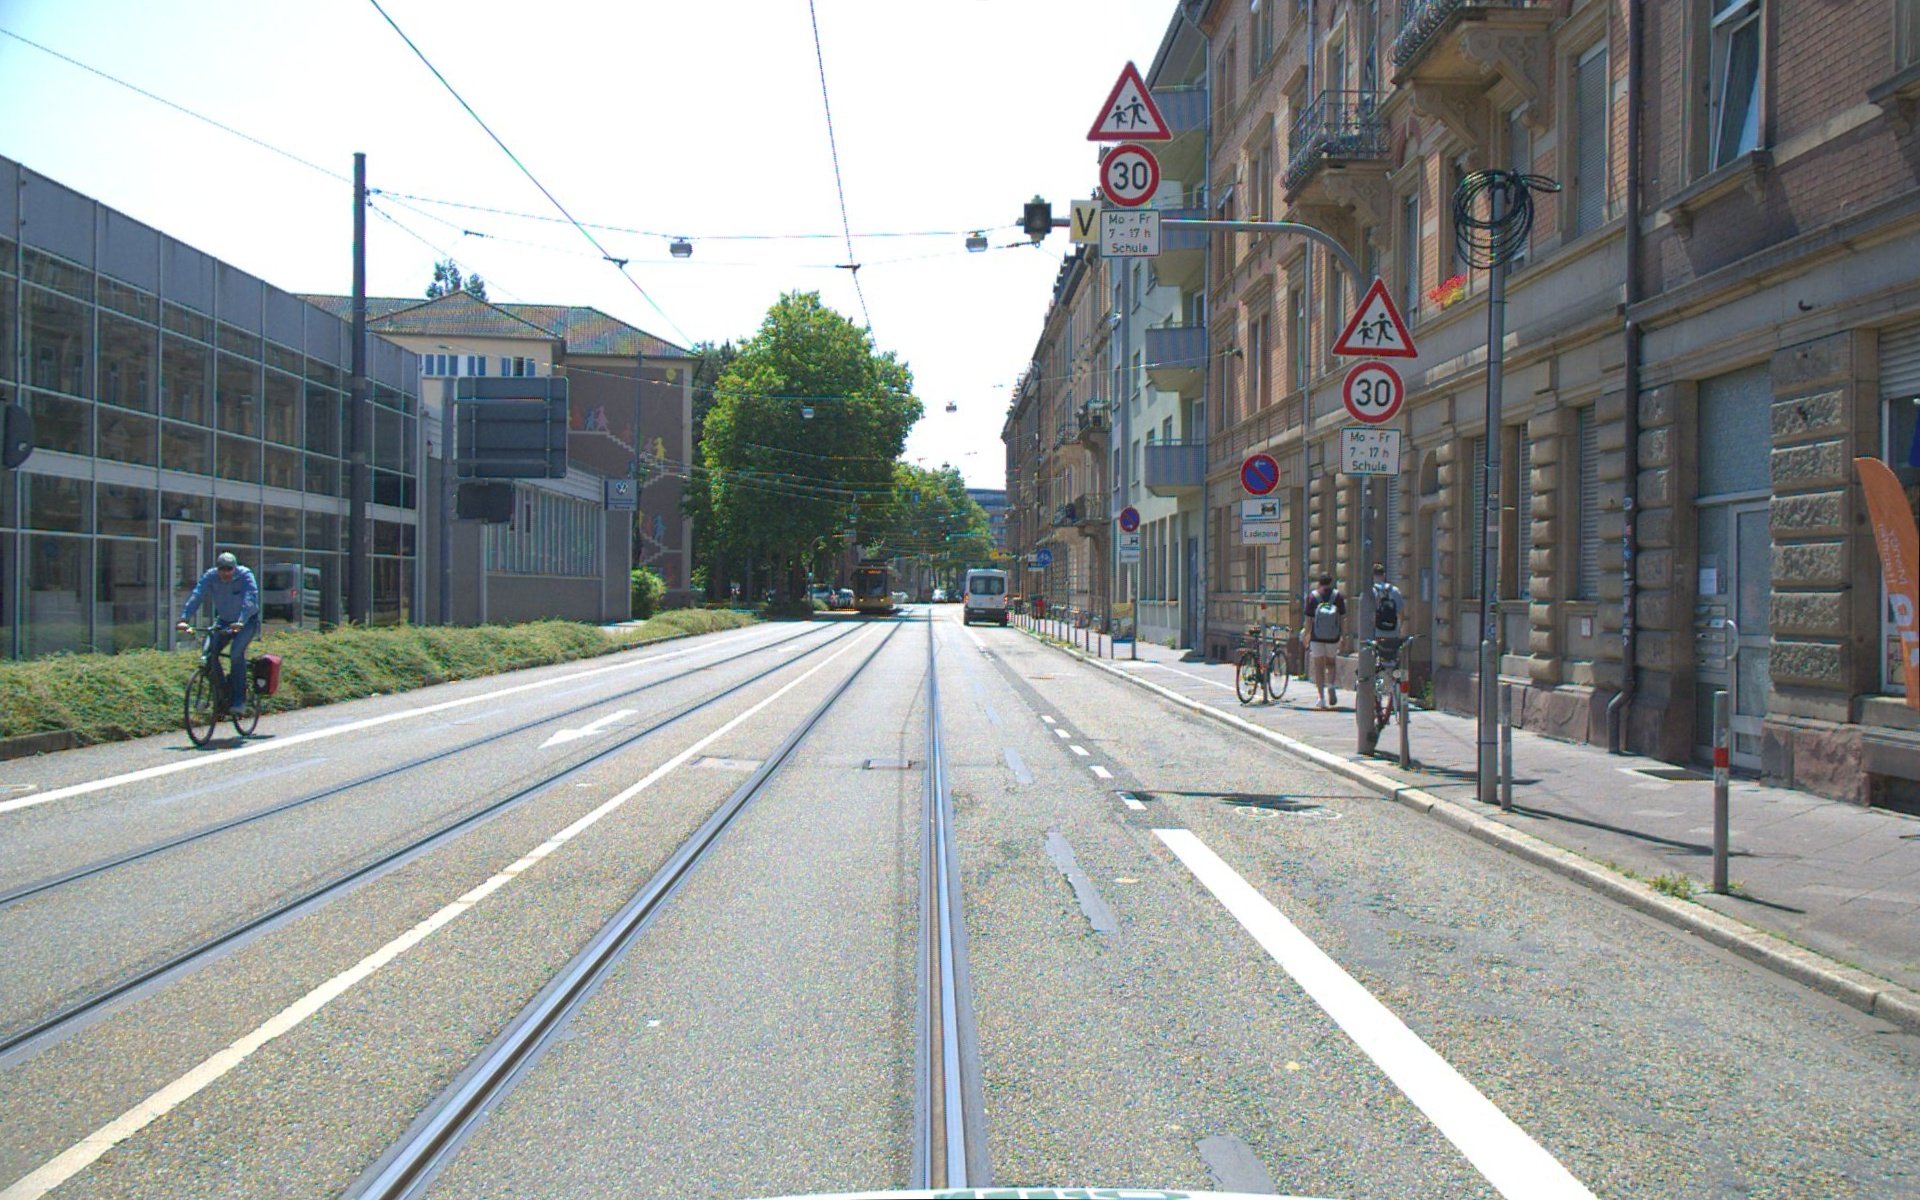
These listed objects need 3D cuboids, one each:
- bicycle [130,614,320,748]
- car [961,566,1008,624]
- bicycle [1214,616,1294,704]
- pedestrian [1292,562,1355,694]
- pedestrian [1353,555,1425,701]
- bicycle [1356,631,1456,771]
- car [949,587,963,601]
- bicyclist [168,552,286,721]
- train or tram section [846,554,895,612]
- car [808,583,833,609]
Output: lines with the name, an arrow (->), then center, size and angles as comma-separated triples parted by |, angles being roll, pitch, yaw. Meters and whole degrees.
bicycle -> -7.040, 0.732, 15.998 | 0.683, 1.164, 2.496 | 0, 0, 1
car -> 1.107, -0.236, 77.076 | 2.025, 2.544, 5.454 | 1, 0, 0
bicycle -> 4.181, 0.822, 23.387 | 0.489, 1.150, 2.240 | 0, 0, 27
pedestrian -> 4.888, 0.363, 22.266 | 0.705, 1.750, 0.643 | 0, 0, 0
pedestrian -> 5.721, 0.371, 22.089 | 0.688, 1.881, 0.643 | -3, 0, 0
bicycle -> 4.064, 0.878, 15.194 | 0.438, 1.116, 2.424 | 0, 0, 4
car -> -0.600, -0.848, 228.186 | 1.641, 1.892, 3.997 | 1, 0, -4
bicyclist -> -7.045, 0.336, 15.934 | 0.683, 1.575, 0.980 | 0, 0, 1
train or tram section -> -5.930, -1.125, 111.757 | 2.901, 3.643, 13.419 | 0, 0, -1
car -> -10.659, -0.300, 126.855 | 1.764, 1.956, 3.997 | 1, 0, -3
